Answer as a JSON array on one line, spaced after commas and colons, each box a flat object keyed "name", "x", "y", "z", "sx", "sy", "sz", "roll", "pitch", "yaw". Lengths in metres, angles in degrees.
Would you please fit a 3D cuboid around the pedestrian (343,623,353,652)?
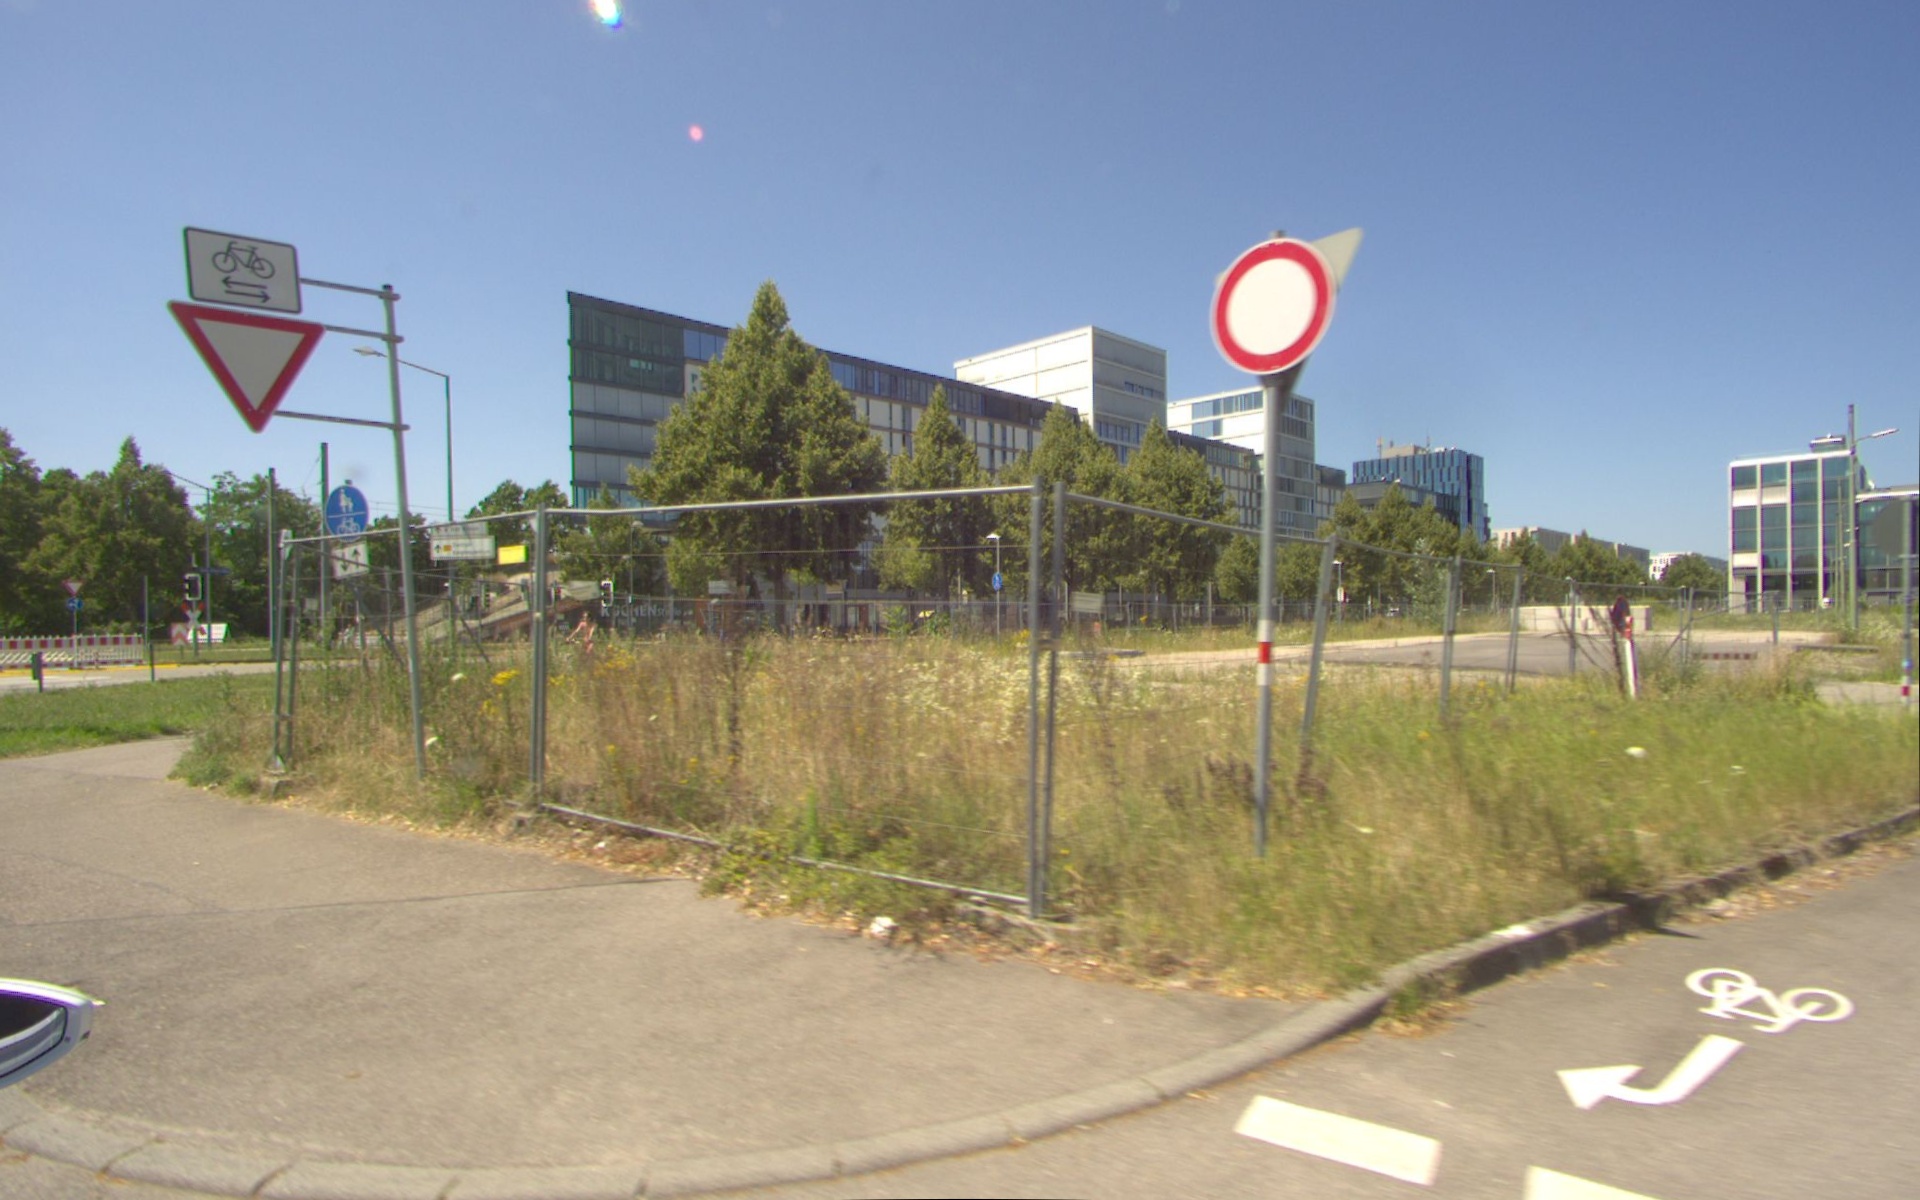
[{"name": "pedestrian", "x": -37.843, "y": 2.303, "z": 61.897, "sx": 0.314, "sy": 1.761, "sz": 0.445, "roll": 0, "pitch": 0, "yaw": 43}]

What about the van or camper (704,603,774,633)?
[{"name": "van or camper", "x": -21.670, "y": 1.826, "z": 98.468, "sx": 2.356, "sy": 2.859, "sz": 6.731, "roll": -1, "pitch": -1, "yaw": 42}]

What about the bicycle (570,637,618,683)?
[{"name": "bicycle", "x": -9.296, "y": 1.503, "z": 25.524, "sx": 0.431, "sy": 1.071, "sz": 2.088, "roll": -1, "pitch": -1, "yaw": 0}]

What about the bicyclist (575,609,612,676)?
[{"name": "bicyclist", "x": -9.361, "y": 1.080, "z": 25.573, "sx": 0.633, "sy": 1.685, "sz": 0.710, "roll": -2, "pitch": -1, "yaw": 0}]
